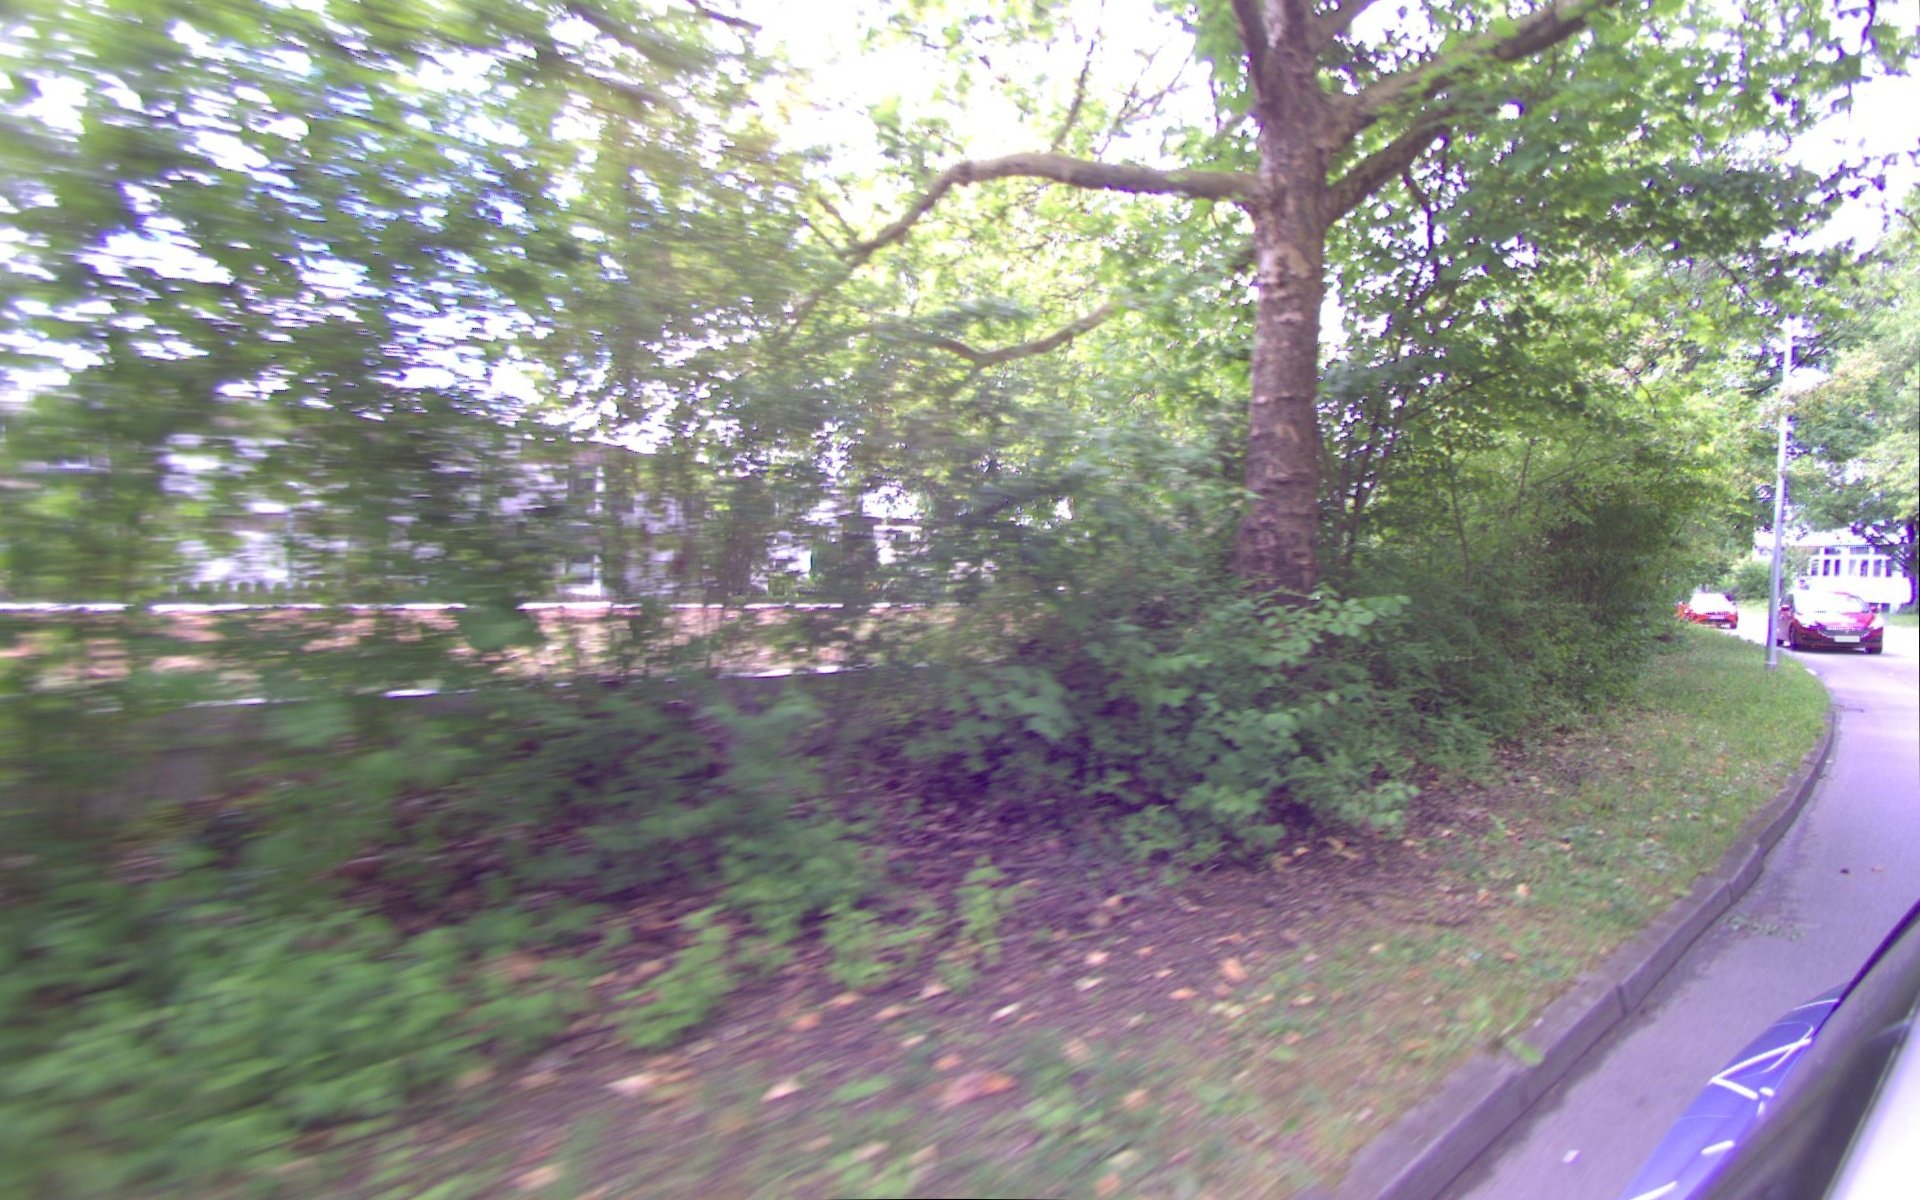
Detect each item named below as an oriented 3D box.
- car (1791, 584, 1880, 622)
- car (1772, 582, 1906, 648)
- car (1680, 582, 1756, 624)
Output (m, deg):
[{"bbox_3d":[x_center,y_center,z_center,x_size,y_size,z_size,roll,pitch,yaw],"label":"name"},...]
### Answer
[{"bbox_3d":[38.981,0.078,45.180,1.667,1.530,4.397,2,2,23],"label":"car"},{"bbox_3d":[23.992,0.336,27.807,1.846,1.638,4.431,1,1,29],"label":"car"},{"bbox_3d":[32.288,0.108,43.201,1.983,1.593,3.959,4,2,29],"label":"car"}]
